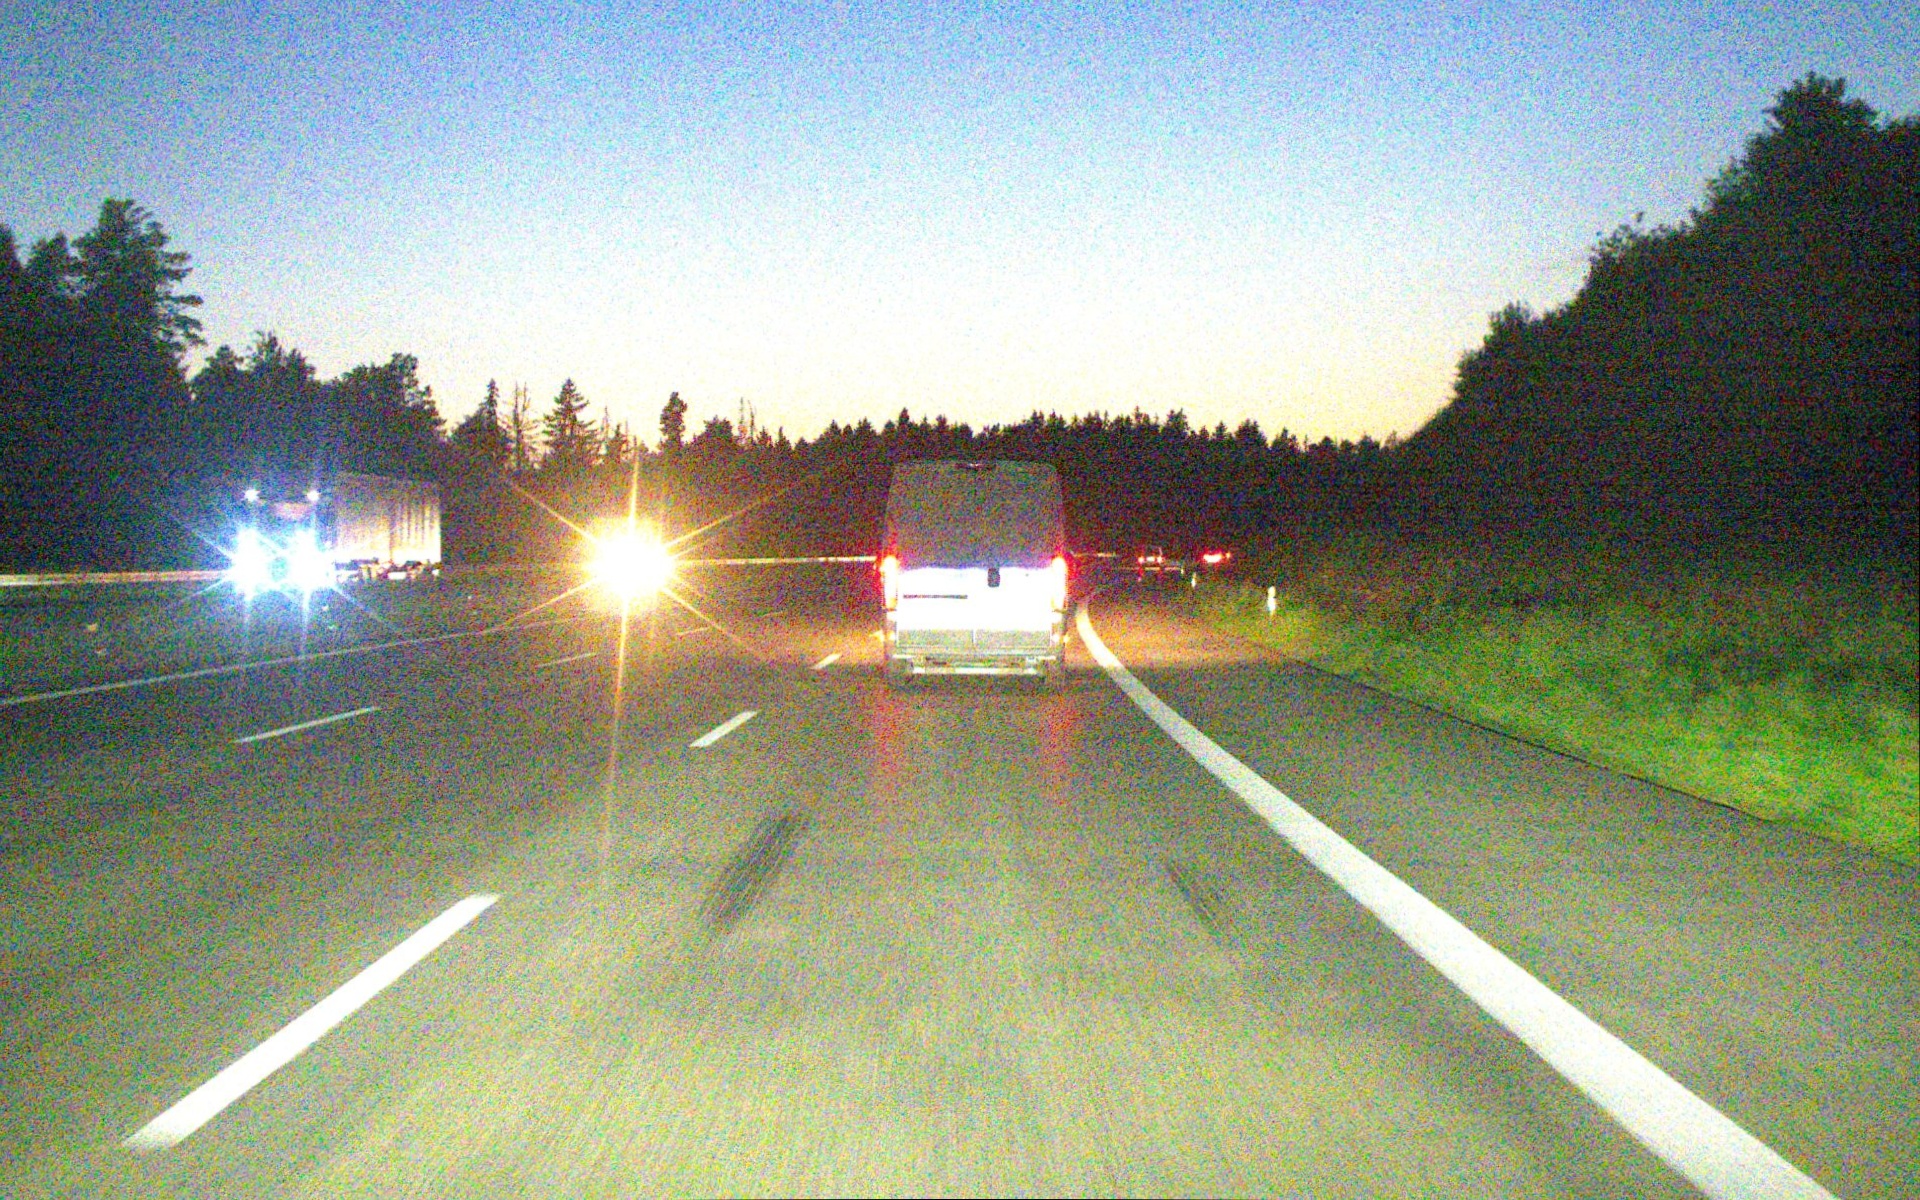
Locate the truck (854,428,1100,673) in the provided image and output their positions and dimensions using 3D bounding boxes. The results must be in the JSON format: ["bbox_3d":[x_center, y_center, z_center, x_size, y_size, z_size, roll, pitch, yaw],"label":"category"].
[{"bbox_3d":[0.263,-0.557,41.221,2.630,2.615,8.684,0,0,1],"label":"truck"}]

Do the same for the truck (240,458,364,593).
[{"bbox_3d":[-20.958,-2.330,109.758,2.714,4.185,5.420,0,0,2],"label":"truck"}]

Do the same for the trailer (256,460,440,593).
[{"bbox_3d":[-20.684,-2.388,117.489,2.688,4.203,17.252,0,0,2],"label":"trailer"}]
